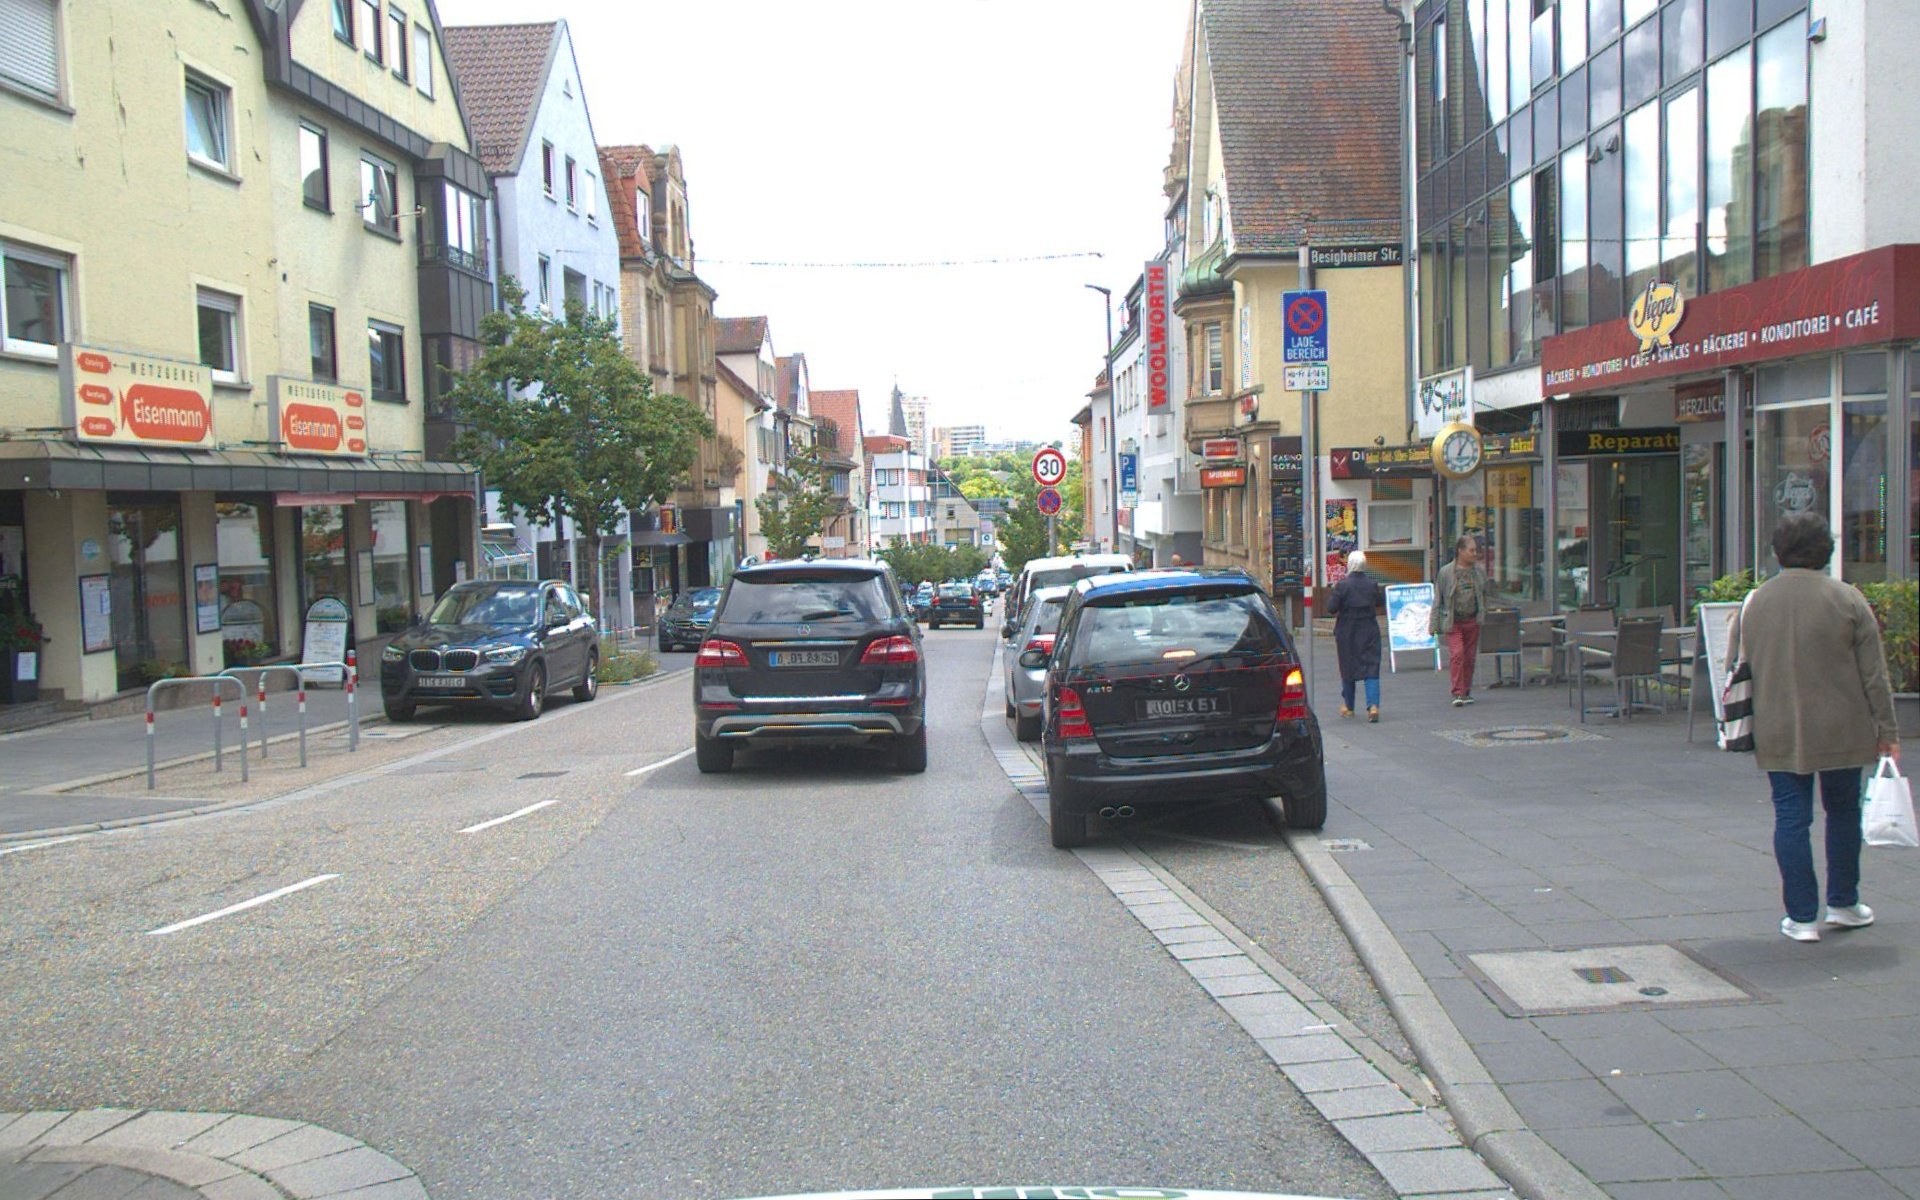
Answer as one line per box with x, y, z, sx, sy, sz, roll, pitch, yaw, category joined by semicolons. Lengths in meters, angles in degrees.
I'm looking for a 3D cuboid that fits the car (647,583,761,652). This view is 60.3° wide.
-5.944;0.355;38.978;1.887;1.518;4.843;0;1;0;car

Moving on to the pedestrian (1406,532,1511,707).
5.146;0.190;17.131;0.845;1.737;0.945;-2;0;7;pedestrian

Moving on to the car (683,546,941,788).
-1.230;0.490;14.689;1.905;1.770;4.176;-2;0;-3;car

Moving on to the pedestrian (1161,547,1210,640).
4.438;-0.131;32.650;0.780;1.757;1.053;-3;0;2;pedestrian

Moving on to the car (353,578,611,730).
-6.130;0.612;21.834;1.965;1.723;4.608;-1;1;1;car

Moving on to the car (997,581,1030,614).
3.430;-0.198;106.265;1.898;1.924;4.707;-4;1;1;car

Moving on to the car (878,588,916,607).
-6.681;-0.277;175.628;3.908;1.780;1.999;-4;0;-2;car

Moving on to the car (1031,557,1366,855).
1.413;0.567;11.192;1.766;1.582;3.955;-3;1;2;car

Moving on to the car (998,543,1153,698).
1.612;0.214;22.567;1.837;1.831;4.735;-2;1;5;car

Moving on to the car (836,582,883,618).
-4.786;0.006;79.089;1.887;1.650;4.639;-1;0;0;car

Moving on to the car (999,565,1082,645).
1.850;0.089;38.217;1.712;1.635;3.801;-4;1;2;car

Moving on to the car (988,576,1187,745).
1.229;0.541;17.441;1.668;1.493;3.999;-3;1;-1;car

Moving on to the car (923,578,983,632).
-0.188;0.130;52.310;1.748;1.567;3.745;-2;1;2;car

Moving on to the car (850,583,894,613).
-4.577;-0.112;86.857;1.886;1.455;4.263;-1;0;2;car

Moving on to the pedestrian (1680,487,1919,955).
3.337;0.430;6.389;0.756;1.674;0.871;-2;0;7;pedestrian

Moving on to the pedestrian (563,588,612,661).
-7.654;0.489;34.022;0.809;1.489;0.810;0;0;1;pedestrian

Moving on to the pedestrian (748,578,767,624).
-6.684;0.026;54.510;0.480;1.489;0.559;0;0;10;pedestrian

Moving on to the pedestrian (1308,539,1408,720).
3.872;0.280;16.141;0.806;1.695;0.802;-2;0;7;pedestrian

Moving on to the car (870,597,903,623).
-4.464;0.596;100.401;1.887;1.523;4.261;0;1;-1;car

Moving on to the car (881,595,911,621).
-4.138;0.508;107.786;1.887;1.623;4.457;0;1;-2;car
